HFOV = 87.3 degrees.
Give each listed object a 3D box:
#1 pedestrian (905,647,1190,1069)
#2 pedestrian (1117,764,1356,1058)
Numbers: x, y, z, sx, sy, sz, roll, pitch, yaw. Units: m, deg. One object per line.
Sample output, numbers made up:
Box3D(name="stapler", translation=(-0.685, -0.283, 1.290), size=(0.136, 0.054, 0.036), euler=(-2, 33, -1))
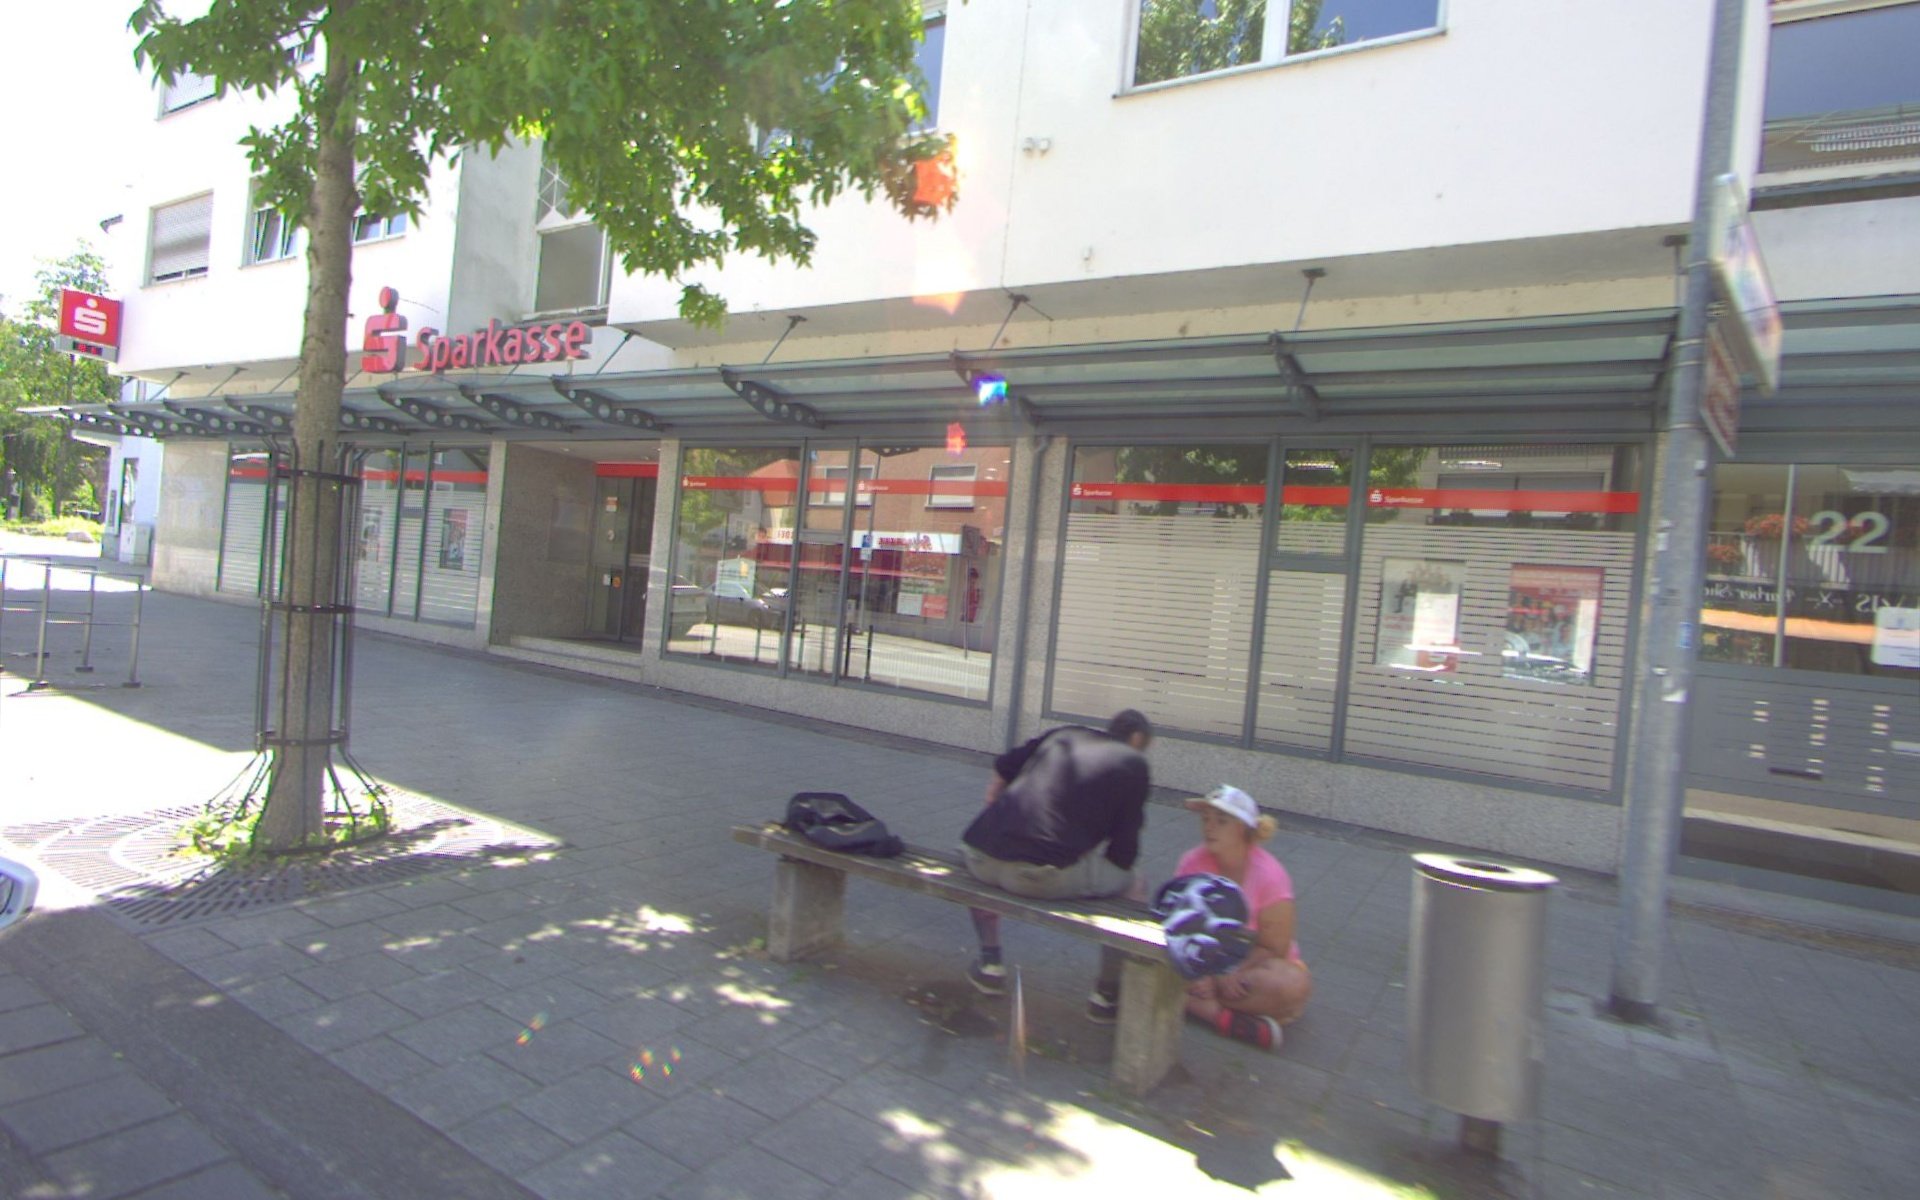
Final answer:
Box3D(name="pedestrian", translation=(0.319, 0.833, 3.552), size=(0.758, 1.256, 0.531), euler=(5, 1, -44))
Box3D(name="pedestrian", translation=(1.045, 1.109, 3.786), size=(0.675, 0.863, 0.531), euler=(4, 1, -44))
